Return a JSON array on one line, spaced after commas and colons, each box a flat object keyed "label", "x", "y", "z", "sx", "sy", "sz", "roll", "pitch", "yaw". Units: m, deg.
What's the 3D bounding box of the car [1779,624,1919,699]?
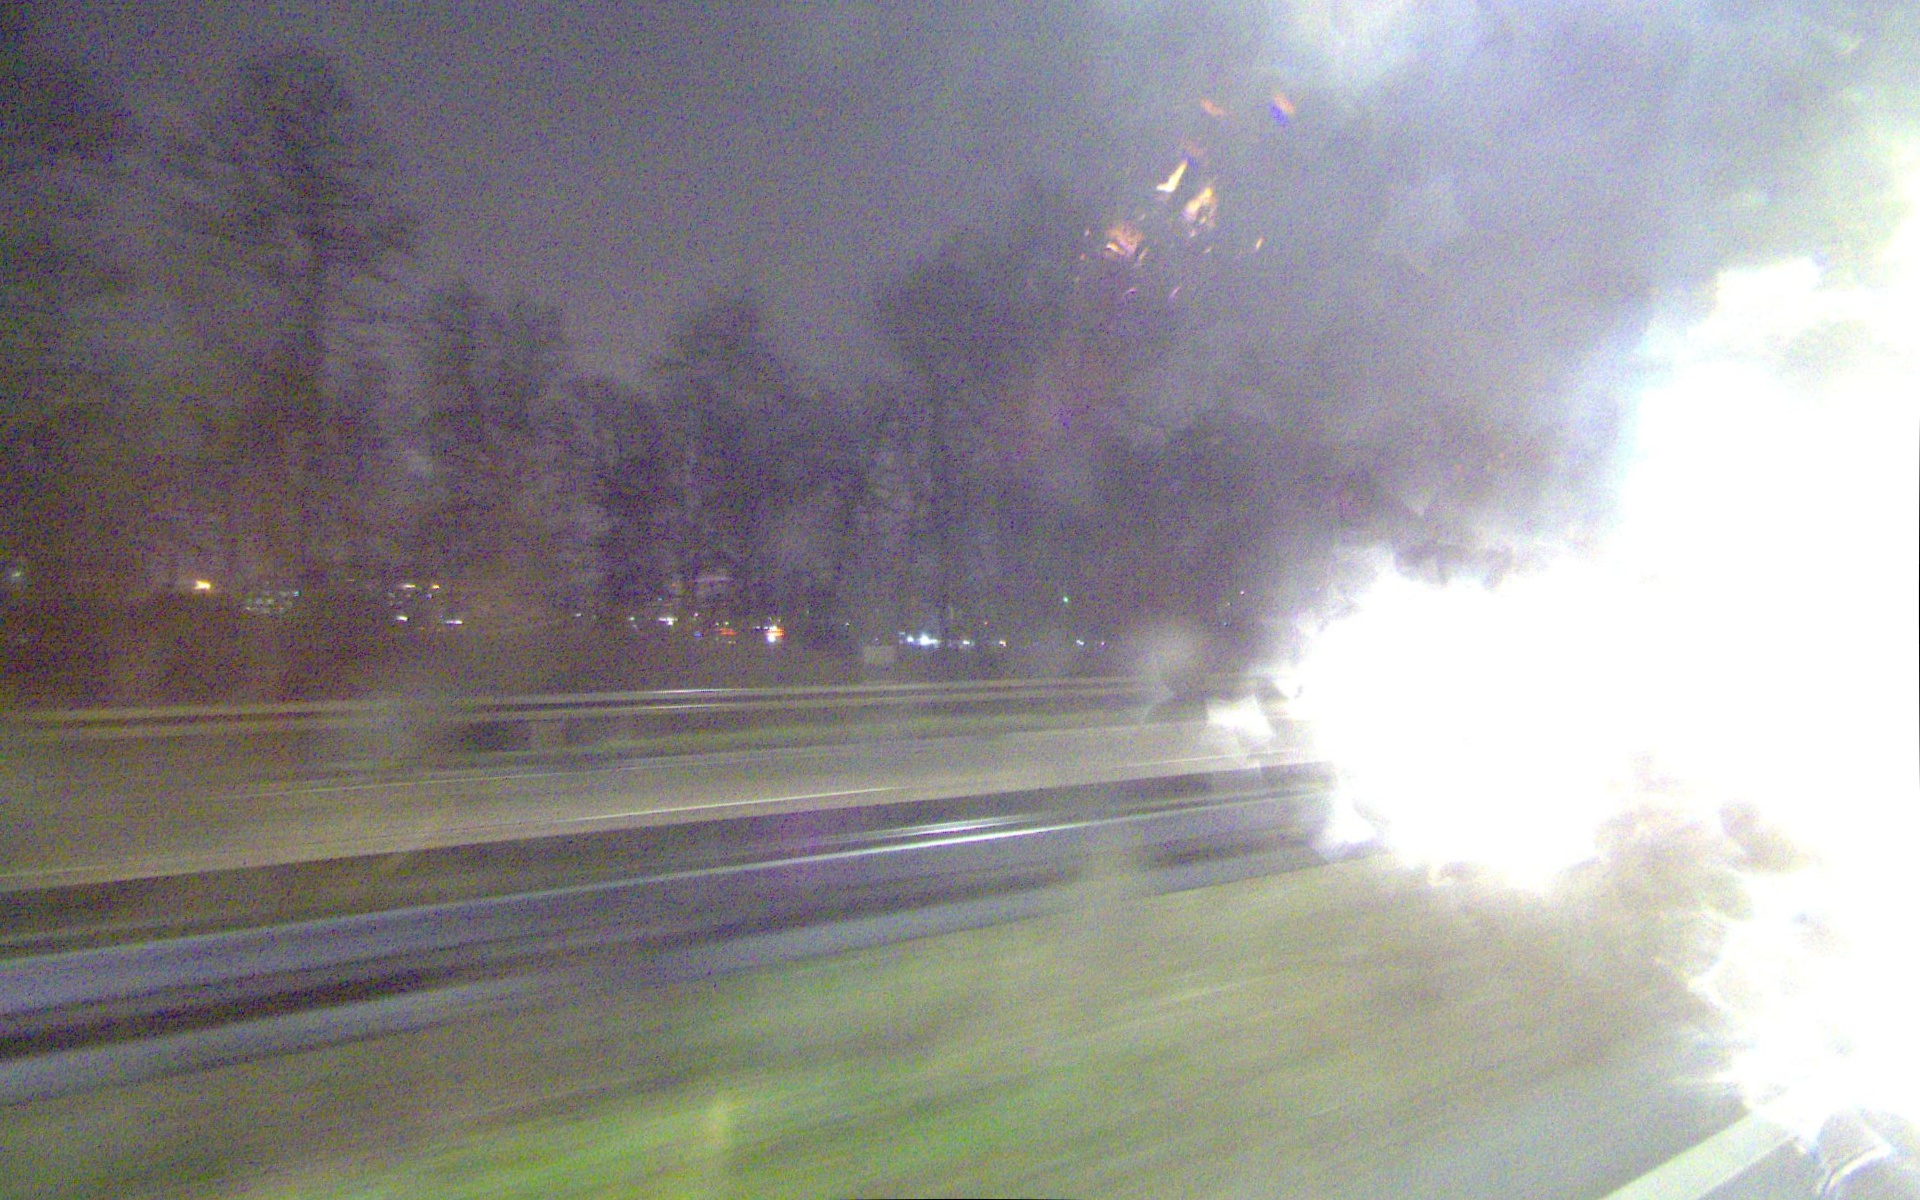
[{"label": "car", "x": 20.455, "y": 1.390, "z": 22.980, "sx": 4.121, "sy": 1.562, "sz": 1.557, "roll": 1, "pitch": -5, "yaw": -36}]

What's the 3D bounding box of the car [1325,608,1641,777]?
[{"label": "car", "x": 6.187, "y": 0.984, "z": 11.757, "sx": 3.959, "sy": 1.673, "sz": 1.610, "roll": 1, "pitch": -3, "yaw": -35}]

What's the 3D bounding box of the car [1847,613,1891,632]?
[{"label": "car", "x": 93.802, "y": 2.320, "z": 103.719, "sx": 1.961, "sy": 1.709, "sz": 3.999, "roll": 2, "pitch": 2, "yaw": 20}]
